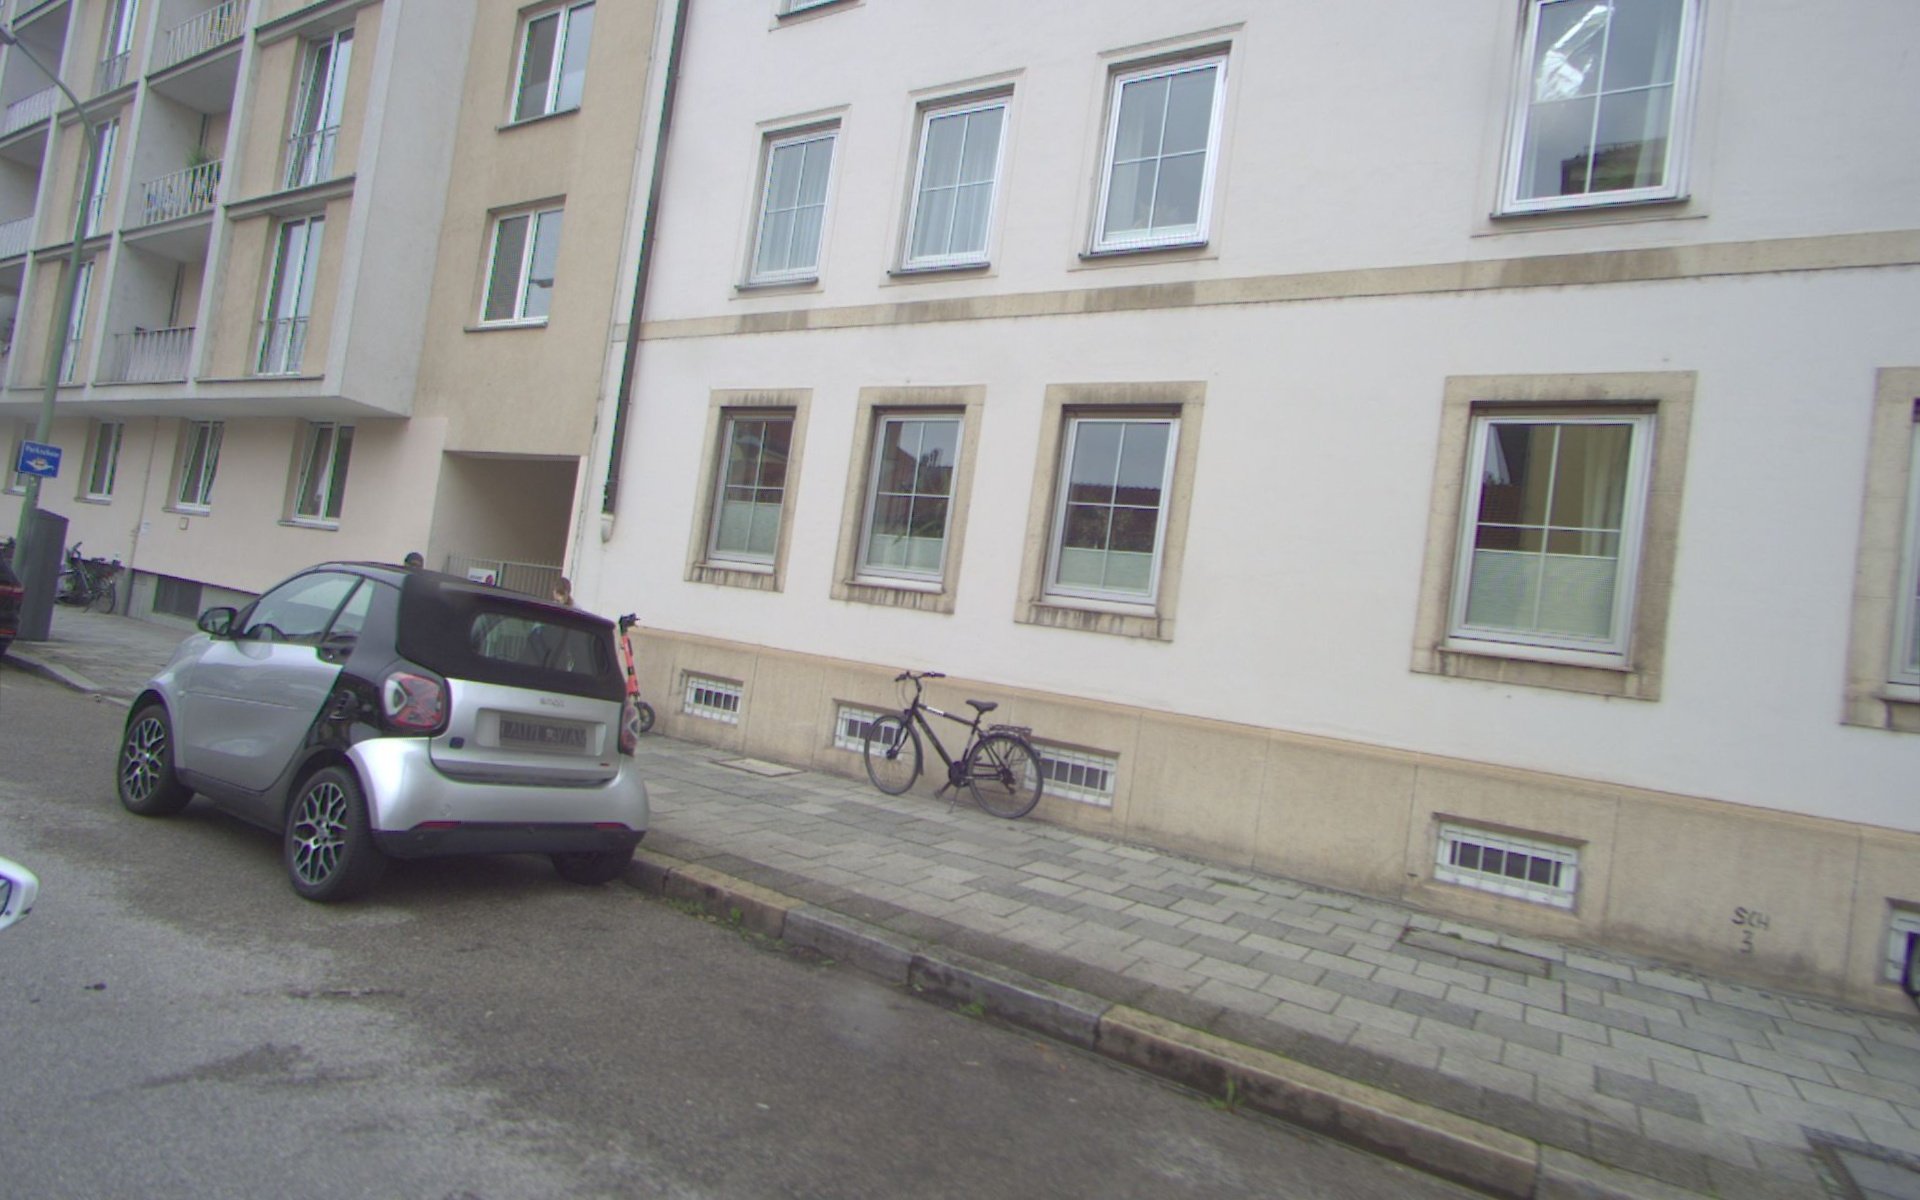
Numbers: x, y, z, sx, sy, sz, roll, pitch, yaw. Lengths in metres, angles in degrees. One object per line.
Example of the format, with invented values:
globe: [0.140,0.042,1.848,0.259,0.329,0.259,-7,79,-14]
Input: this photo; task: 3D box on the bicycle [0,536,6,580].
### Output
bicycle: [-21.216,-0.919,21.844,0.985,1.036,0.374,7,-1,31]

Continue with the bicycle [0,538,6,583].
bicycle: [-18.712,-0.716,19.059,1.378,1.036,0.484,7,-1,31]

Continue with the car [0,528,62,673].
car: [-12.055,-0.333,11.014,4.406,1.433,1.806,7,-8,30]

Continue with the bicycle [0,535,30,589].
bicycle: [-20.196,-0.834,21.225,1.378,1.036,0.390,7,-1,31]

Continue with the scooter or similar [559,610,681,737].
scooter or similar: [-3.691,0.786,10.934,1.020,1.267,0.601,3,-2,23]

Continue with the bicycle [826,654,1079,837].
bicycle: [-0.092,1.188,8.591,1.994,1.177,0.660,7,-1,32]

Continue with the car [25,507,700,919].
car: [-3.628,0.513,5.968,3.817,1.550,1.678,7,-5,32]

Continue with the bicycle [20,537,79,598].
bicycle: [-17.775,-0.636,19.626,1.378,1.036,0.390,7,-1,31]

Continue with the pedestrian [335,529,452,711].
pedestrian: [-5.523,0.202,9.819,0.620,1.674,0.597,7,-1,31]

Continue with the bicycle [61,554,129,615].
bicycle: [-15.690,-0.287,18.243,1.378,0.947,0.445,7,-1,31]

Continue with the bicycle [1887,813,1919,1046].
bicycle: [5.911,1.817,4.799,1.994,1.139,0.660,7,-1,32]

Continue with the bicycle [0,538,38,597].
bicycle: [-18.446,-0.655,19.491,1.378,1.036,0.390,7,-1,31]

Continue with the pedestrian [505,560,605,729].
pedestrian: [-4.056,0.452,10.097,0.551,1.603,0.532,7,-1,31]
